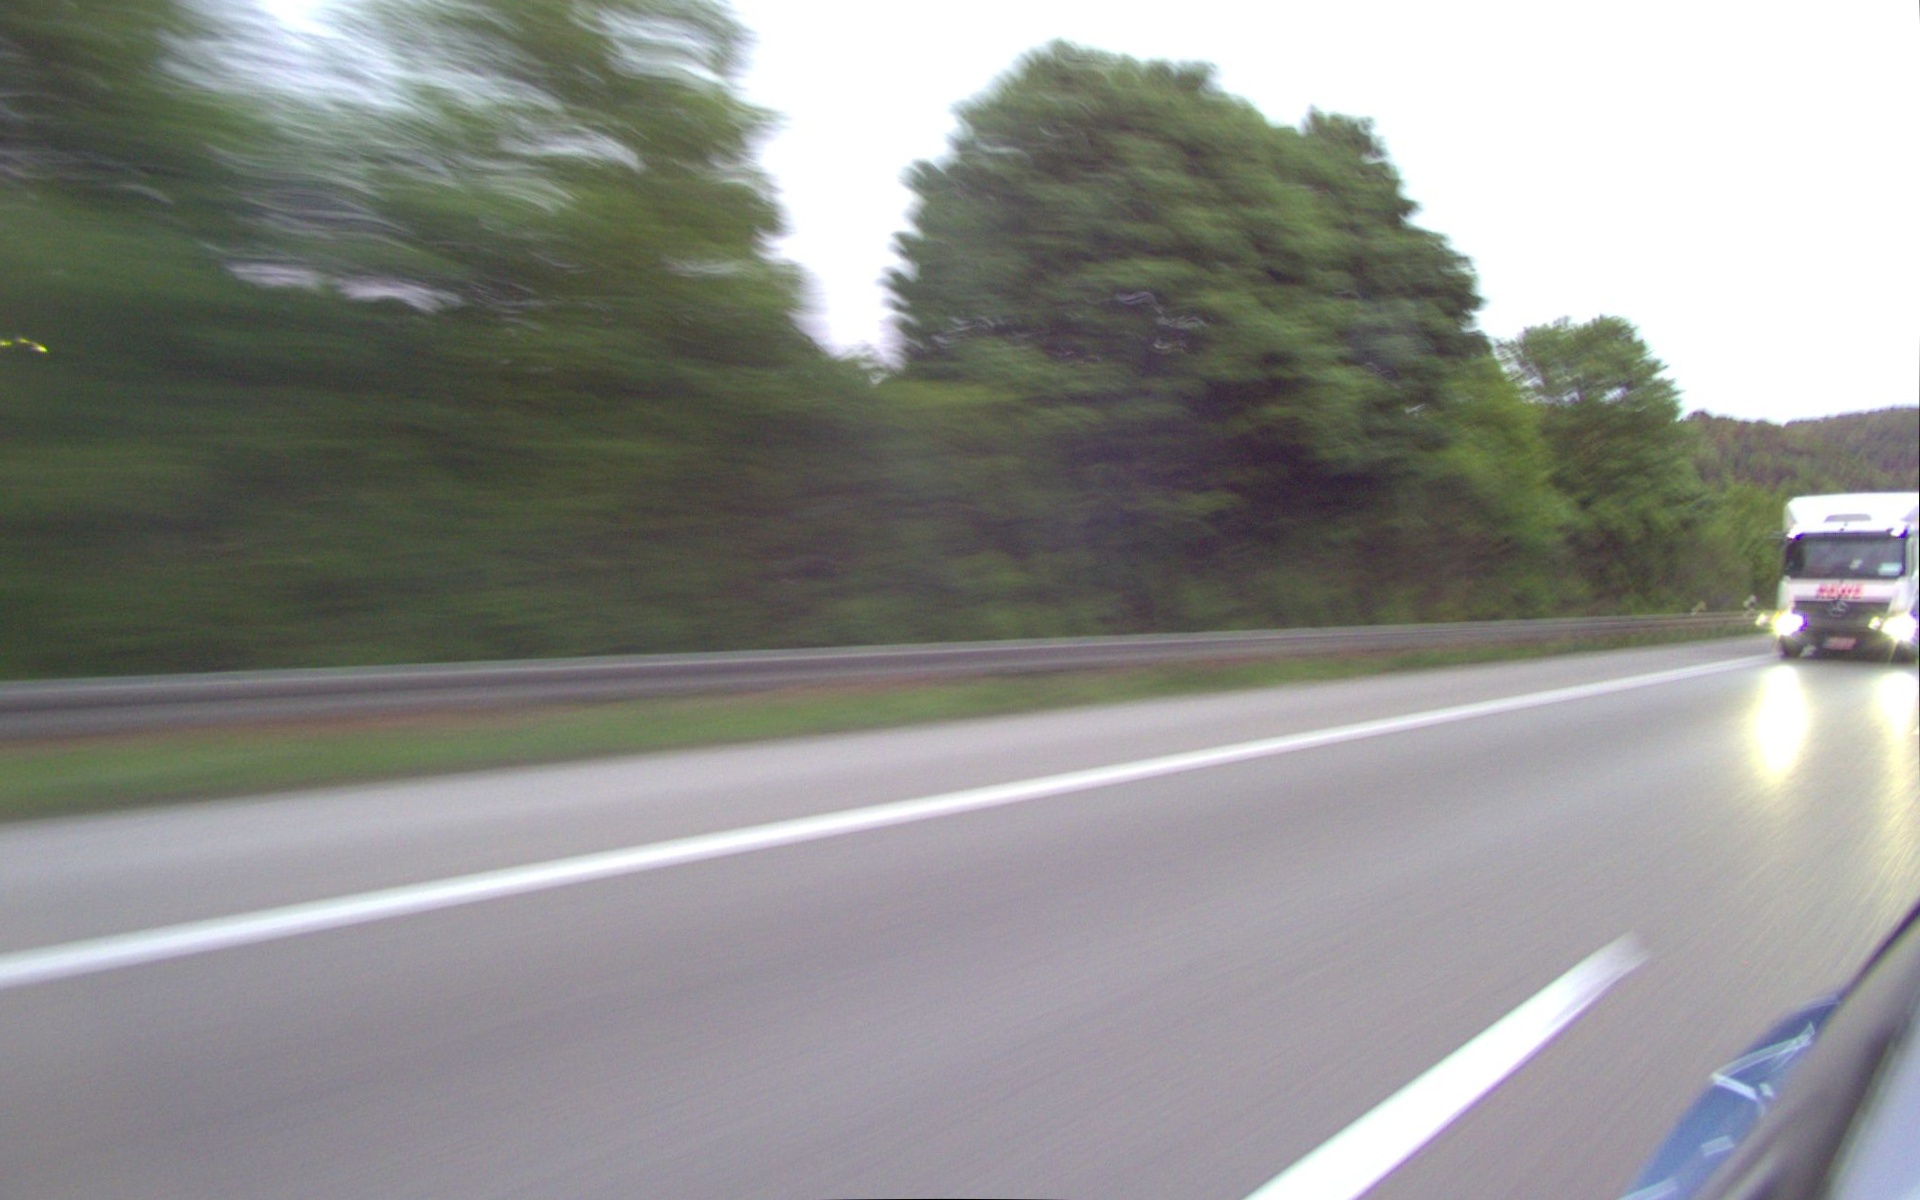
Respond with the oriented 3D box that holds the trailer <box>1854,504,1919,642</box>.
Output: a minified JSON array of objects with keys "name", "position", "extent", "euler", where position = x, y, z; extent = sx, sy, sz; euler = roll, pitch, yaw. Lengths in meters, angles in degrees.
[{"name":"trailer","position":[30.356,-0.826,31.482],"extent":[8.723,3.874,2.621],"euler":[-1,2,-41]}]

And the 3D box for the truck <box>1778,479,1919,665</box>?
[{"name":"truck","position":[23.217,-0.691,25.213],"extent":[10.205,3.874,2.621],"euler":[-1,2,-41]}]
